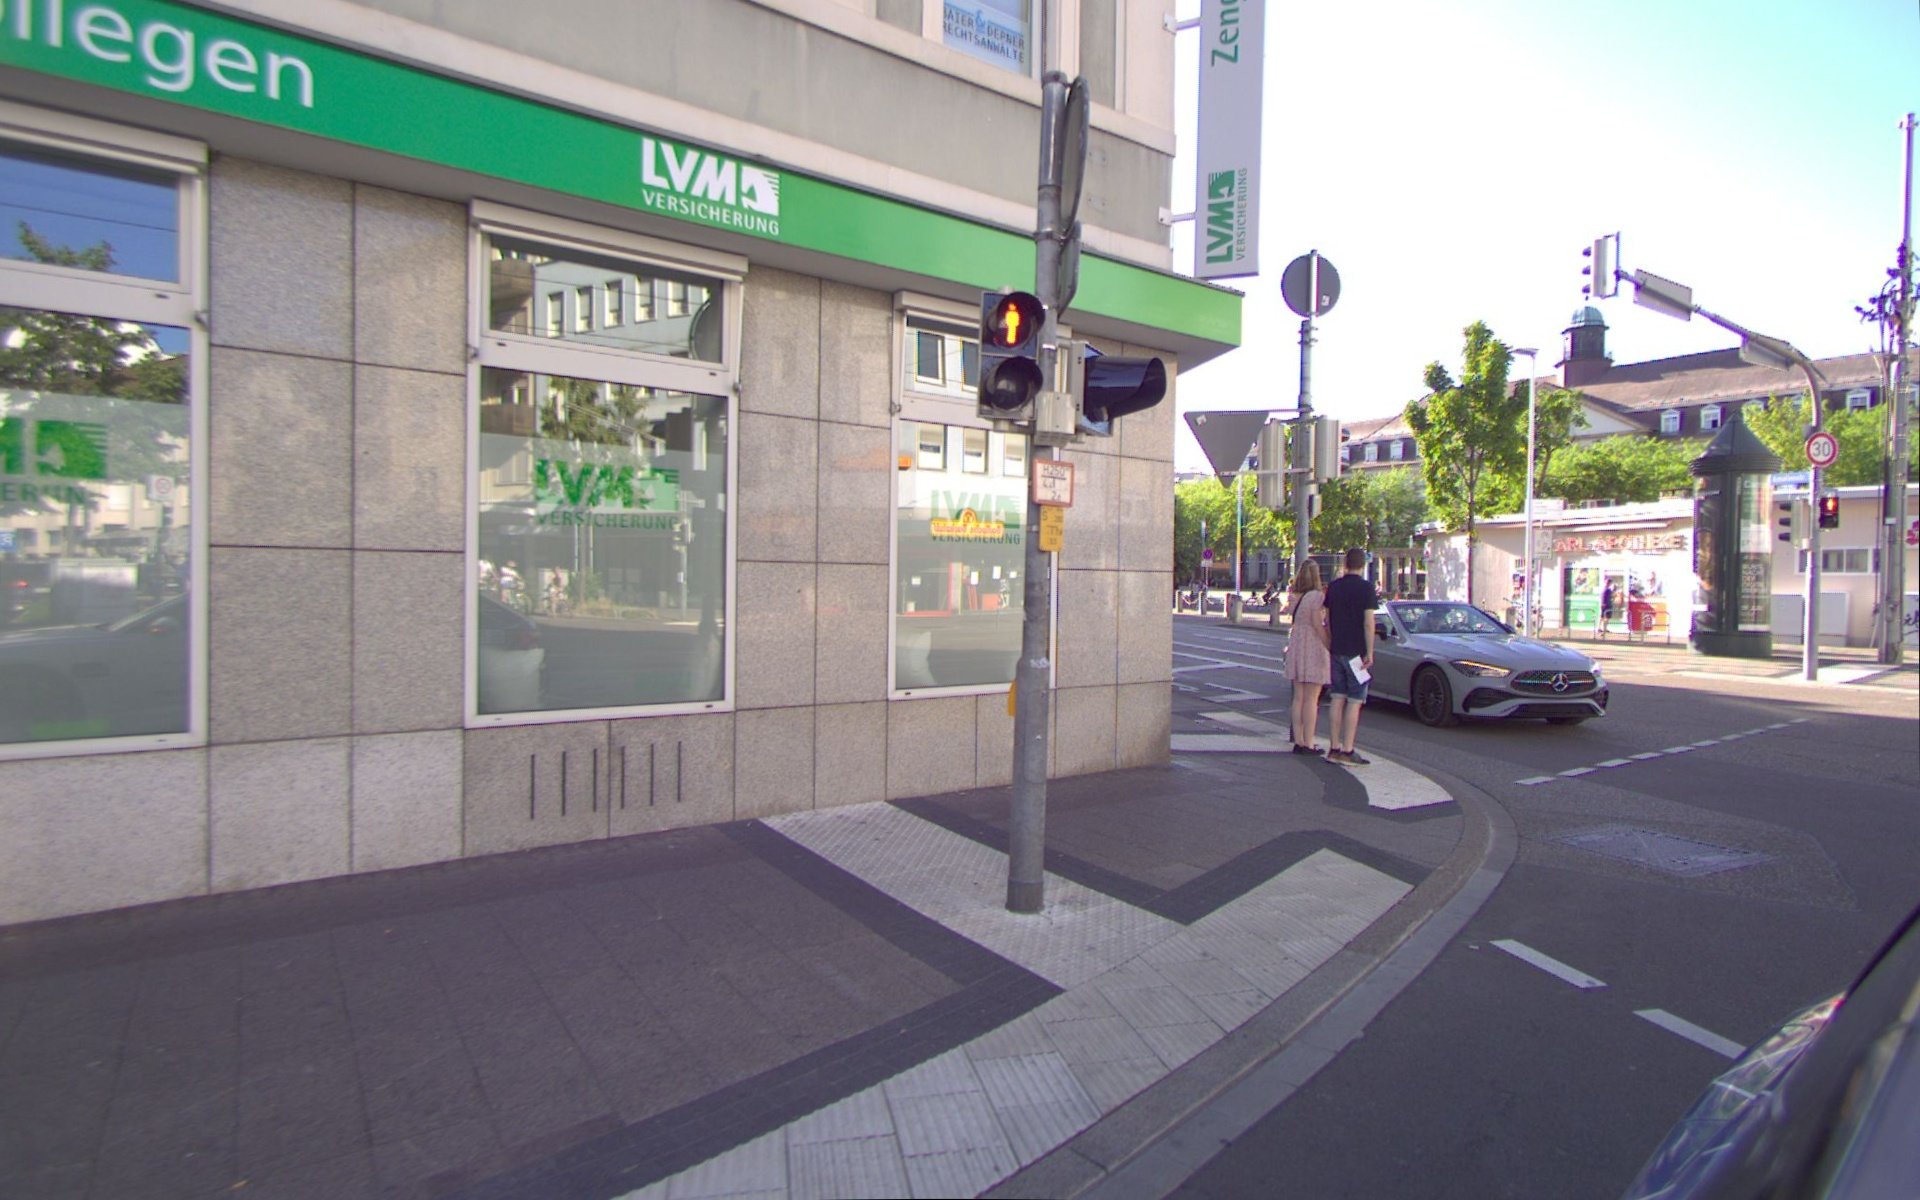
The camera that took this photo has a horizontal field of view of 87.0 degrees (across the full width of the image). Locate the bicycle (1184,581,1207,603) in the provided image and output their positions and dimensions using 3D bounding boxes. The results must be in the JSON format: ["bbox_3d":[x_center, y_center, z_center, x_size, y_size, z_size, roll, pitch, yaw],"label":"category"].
[{"bbox_3d":[12.430,-0.437,53.503,0.927,1.147,2.475,1,1,7],"label":"bicycle"}]

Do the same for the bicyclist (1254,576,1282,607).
[{"bbox_3d":[16.285,-0.473,53.556,1.351,1.617,0.979,0,1,13],"label":"bicyclist"}]

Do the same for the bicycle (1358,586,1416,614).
[{"bbox_3d":[16.004,0.006,37.940,1.854,1.015,0.766,0,1,-3],"label":"bicycle"}]

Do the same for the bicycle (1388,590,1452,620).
[{"bbox_3d":[16.045,0.171,35.328,1.854,1.015,0.766,0,1,-3],"label":"bicycle"}]

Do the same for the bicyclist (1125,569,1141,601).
[{"bbox_3d":[9.158,-0.808,53.570,0.792,1.669,0.991,0,1,11],"label":"bicyclist"}]

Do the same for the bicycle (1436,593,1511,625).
[{"bbox_3d":[16.913,0.278,33.362,1.982,1.015,0.888,0,1,3],"label":"bicycle"}]

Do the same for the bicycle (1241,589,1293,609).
[{"bbox_3d":[16.240,-0.063,53.531,2.534,1.020,0.782,1,1,12],"label":"bicycle"}]

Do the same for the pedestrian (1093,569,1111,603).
[{"bbox_3d":[7.762,-0.765,55.400,0.578,1.834,0.783,0,1,-37],"label":"pedestrian"}]

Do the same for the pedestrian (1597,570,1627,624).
[{"bbox_3d":[21.148,-0.116,32.823,0.510,1.730,0.612,1,1,-12],"label":"pedestrian"}]

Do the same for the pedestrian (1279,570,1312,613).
[{"bbox_3d":[13.591,-0.359,41.014,0.884,1.719,1.087,0,1,-8],"label":"pedestrian"}]

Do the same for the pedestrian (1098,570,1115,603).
[{"bbox_3d":[8.154,-0.762,56.243,0.779,1.834,0.582,1,1,35],"label":"pedestrian"}]

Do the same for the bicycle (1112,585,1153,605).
[{"bbox_3d":[9.127,-0.274,53.675,2.141,1.085,0.761,0,1,10],"label":"bicycle"}]

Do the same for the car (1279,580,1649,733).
[{"bbox_3d":[5.892,0.528,12.564,1.872,1.480,4.372,-2,2,-10],"label":"car"}]

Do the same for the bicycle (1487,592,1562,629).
[{"bbox_3d":[17.329,0.308,31.100,1.954,1.101,0.755,0,1,-9],"label":"bicycle"}]

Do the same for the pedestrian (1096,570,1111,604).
[{"bbox_3d":[8.167,-0.727,57.585,0.597,1.942,0.785,0,1,-9],"label":"pedestrian"}]

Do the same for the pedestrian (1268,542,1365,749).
[{"bbox_3d":[3.178,0.382,9.055,0.562,1.781,0.651,0,1,-12],"label":"pedestrian"}]

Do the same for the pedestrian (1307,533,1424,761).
[{"bbox_3d":[3.460,0.377,8.668,0.628,1.865,0.683,1,1,-12],"label":"pedestrian"}]

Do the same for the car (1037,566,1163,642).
[{"bbox_3d":[3.427,0.043,25.639,1.958,1.749,4.008,0,1,-11],"label":"car"}]

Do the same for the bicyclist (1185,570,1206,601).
[{"bbox_3d":[12.443,-0.764,53.489,0.927,1.628,1.168,1,1,7],"label":"bicyclist"}]
